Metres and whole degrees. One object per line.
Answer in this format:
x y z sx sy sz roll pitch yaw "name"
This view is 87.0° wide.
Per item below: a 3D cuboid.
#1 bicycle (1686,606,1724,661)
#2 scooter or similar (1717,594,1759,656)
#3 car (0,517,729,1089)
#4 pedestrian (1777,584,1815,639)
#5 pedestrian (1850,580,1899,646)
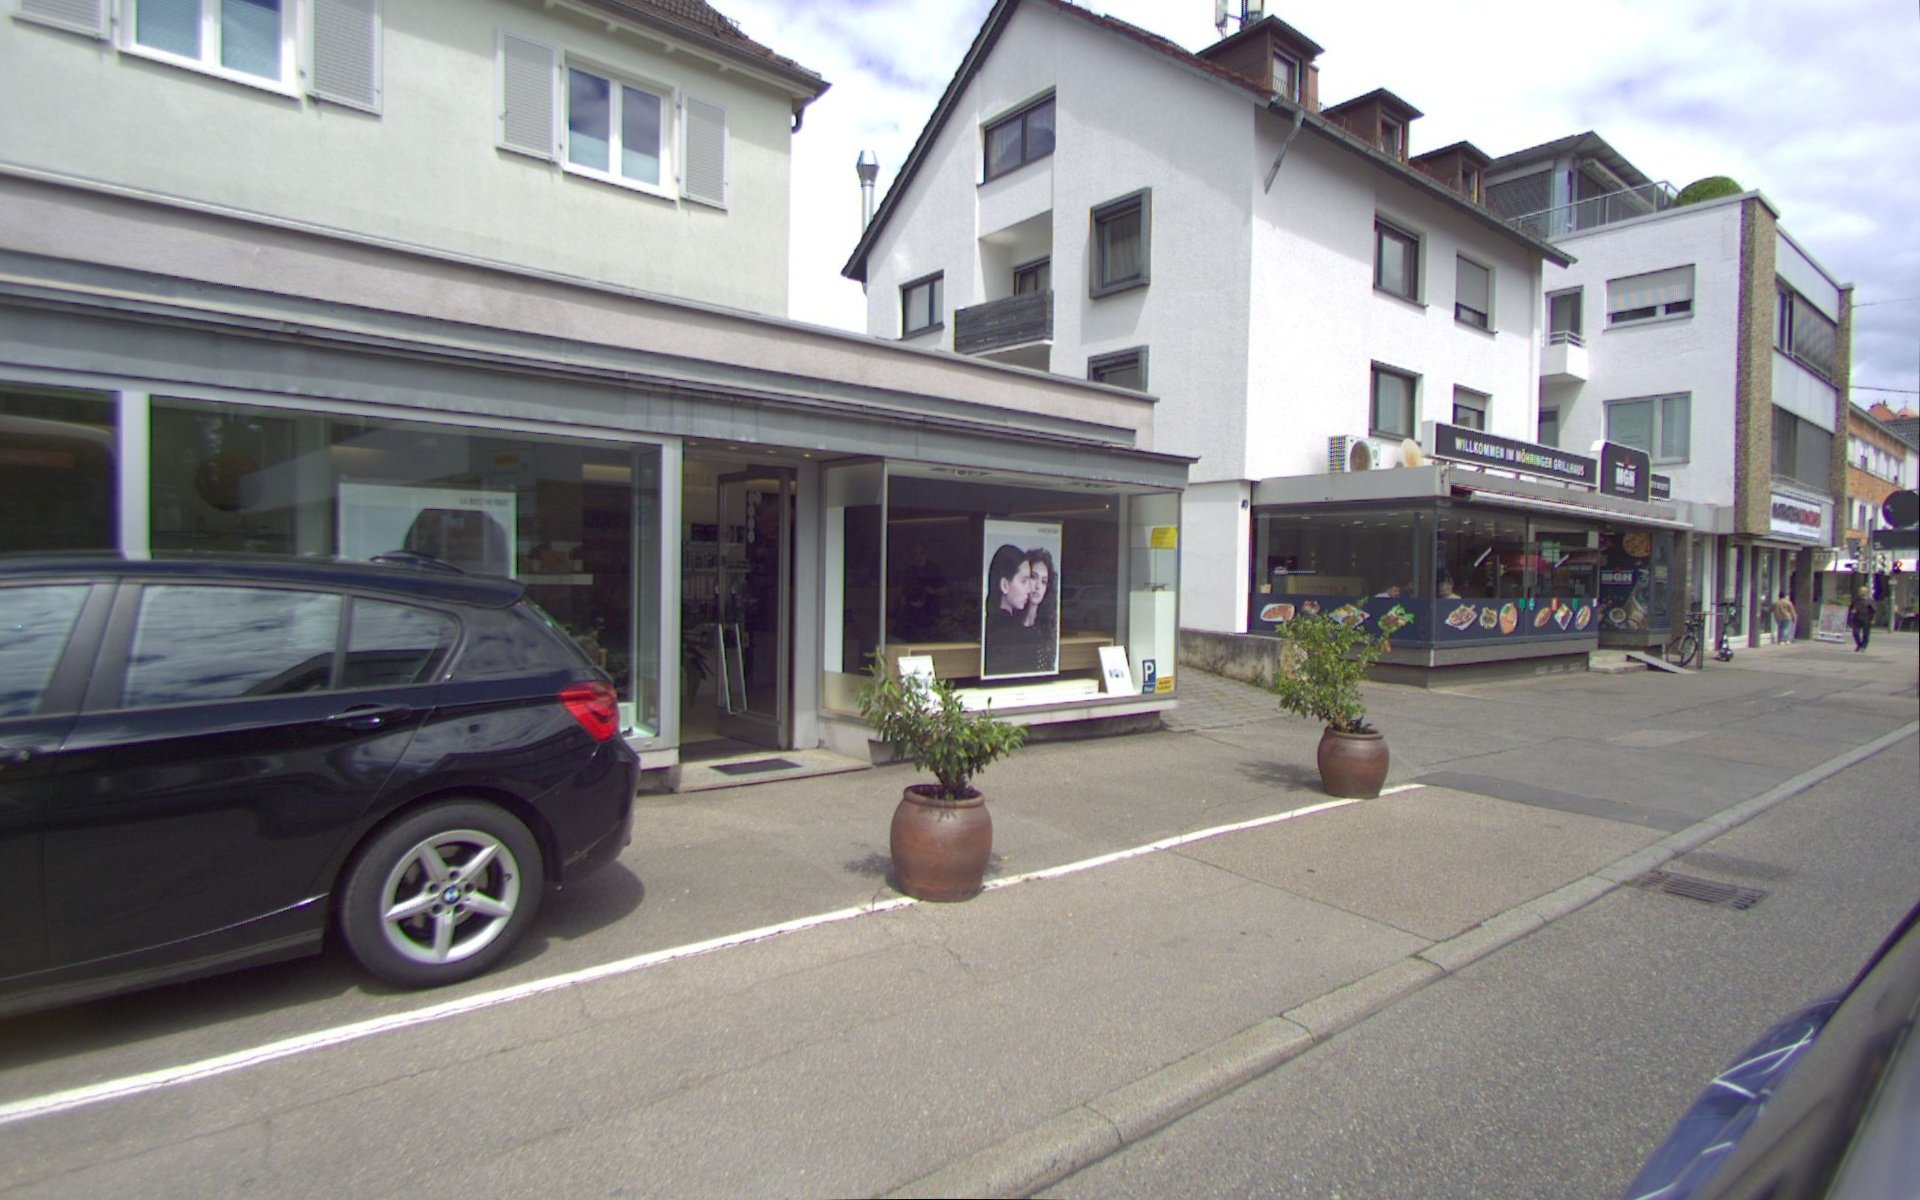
15.216 0.665 20.654 0.474 1.040 1.611 3 2 41 "bicycle"
17.227 0.536 22.411 0.686 1.283 1.169 3 2 38 "scooter or similar"
-3.222 0.479 3.200 4.457 1.465 1.972 0 2 -41 "car"
23.731 0.324 28.727 0.707 1.517 0.681 0 2 -39 "pedestrian"
24.125 0.330 26.707 0.793 1.691 0.797 1 2 -40 "pedestrian"
